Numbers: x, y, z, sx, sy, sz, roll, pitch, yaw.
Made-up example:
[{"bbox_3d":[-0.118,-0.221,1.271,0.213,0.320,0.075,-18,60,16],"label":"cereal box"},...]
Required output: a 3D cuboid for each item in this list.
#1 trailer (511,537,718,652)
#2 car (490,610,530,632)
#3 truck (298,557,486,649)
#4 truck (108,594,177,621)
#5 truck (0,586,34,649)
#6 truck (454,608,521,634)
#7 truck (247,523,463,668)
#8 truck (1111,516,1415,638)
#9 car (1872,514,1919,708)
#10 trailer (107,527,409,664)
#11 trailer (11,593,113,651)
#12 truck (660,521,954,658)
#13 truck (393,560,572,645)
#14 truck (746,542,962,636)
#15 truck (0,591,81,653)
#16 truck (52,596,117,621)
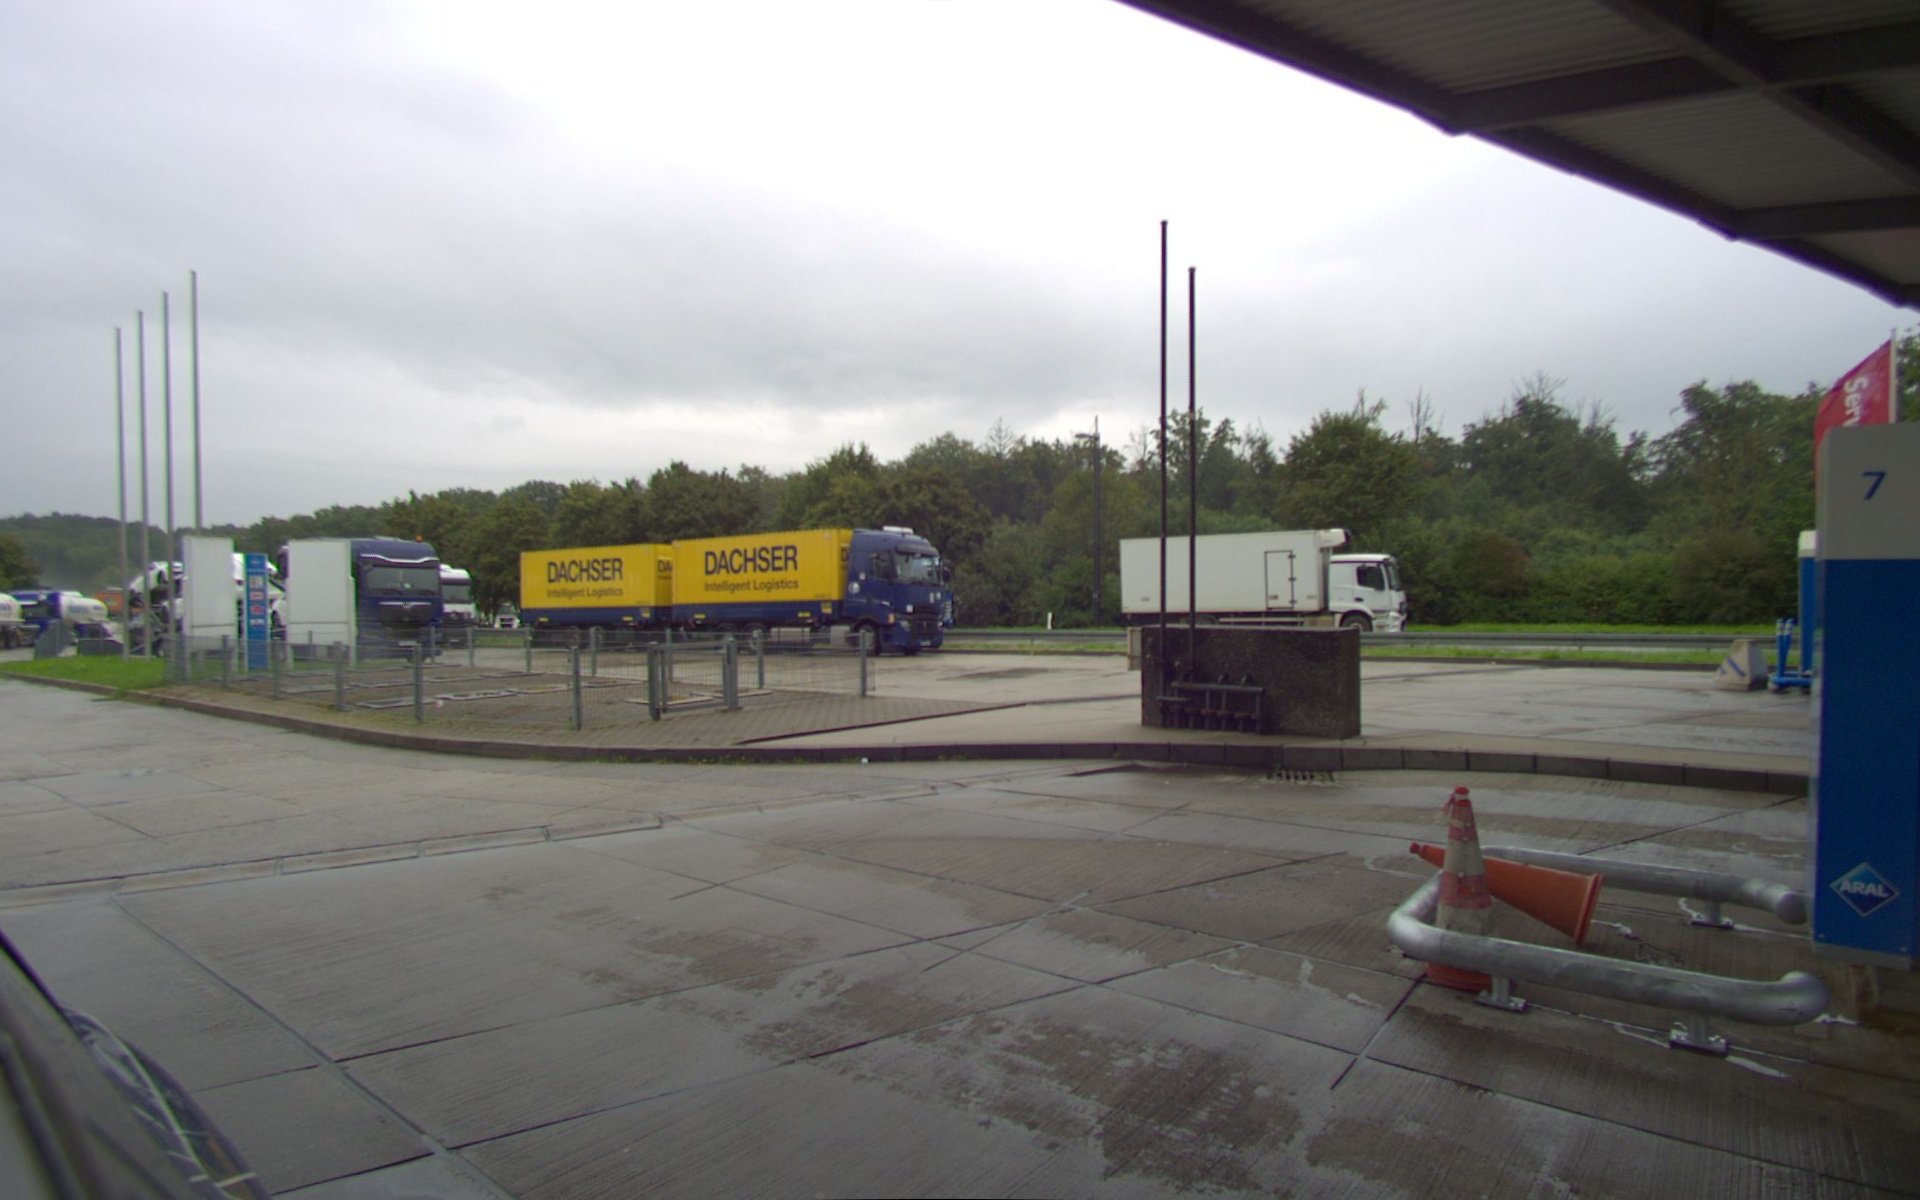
[{"bbox_3d":[-13.542,-0.160,39.280,8.833,4.063,2.743,-1,0,33],"label":"trailer"},{"bbox_3d":[-47.909,2.225,107.715,4.493,2.309,1.754,-1,-1,33],"label":"car"},{"bbox_3d":[-27.297,0.181,48.437,10.433,4.063,2.961,-1,0,30],"label":"truck"},{"bbox_3d":[-113.704,1.025,140.652,14.626,3.591,3.215,0,-1,34],"label":"truck"},{"bbox_3d":[-55.554,1.019,55.006,3.196,3.591,12.013,-1,0,-19],"label":"truck"},{"bbox_3d":[-45.514,2.034,97.461,6.158,2.321,3.101,-1,-1,33],"label":"truck"},{"bbox_3d":[-18.988,-0.110,31.613,7.244,4.063,2.957,-1,0,34],"label":"truck"},{"bbox_3d":[11.077,-0.726,37.691,10.433,4.063,2.961,-1,0,30],"label":"truck"},{"bbox_3d":[14.884,0.119,12.380,5.272,2.482,2.298,-1,-2,37],"label":"car"},{"bbox_3d":[-25.413,-0.053,35.916,16.563,4.063,2.957,-1,0,34],"label":"trailer"},{"bbox_3d":[-62.266,1.436,70.472,2.854,3.666,10.605,-1,0,-28],"label":"trailer"},{"bbox_3d":[-5.386,-0.264,33.947,10.608,4.063,2.743,-1,0,33],"label":"truck"},{"bbox_3d":[-24.776,0.147,52.266,10.433,4.063,2.961,-1,0,30],"label":"truck"},{"bbox_3d":[-5.137,-0.423,47.682,10.433,4.063,2.961,-1,0,30],"label":"truck"},{"bbox_3d":[-59.421,1.372,64.986,3.000,3.796,6.486,-1,0,-27],"label":"truck"},{"bbox_3d":[-132.954,1.290,153.559,16.515,3.591,3.215,-1,0,34],"label":"truck"}]
